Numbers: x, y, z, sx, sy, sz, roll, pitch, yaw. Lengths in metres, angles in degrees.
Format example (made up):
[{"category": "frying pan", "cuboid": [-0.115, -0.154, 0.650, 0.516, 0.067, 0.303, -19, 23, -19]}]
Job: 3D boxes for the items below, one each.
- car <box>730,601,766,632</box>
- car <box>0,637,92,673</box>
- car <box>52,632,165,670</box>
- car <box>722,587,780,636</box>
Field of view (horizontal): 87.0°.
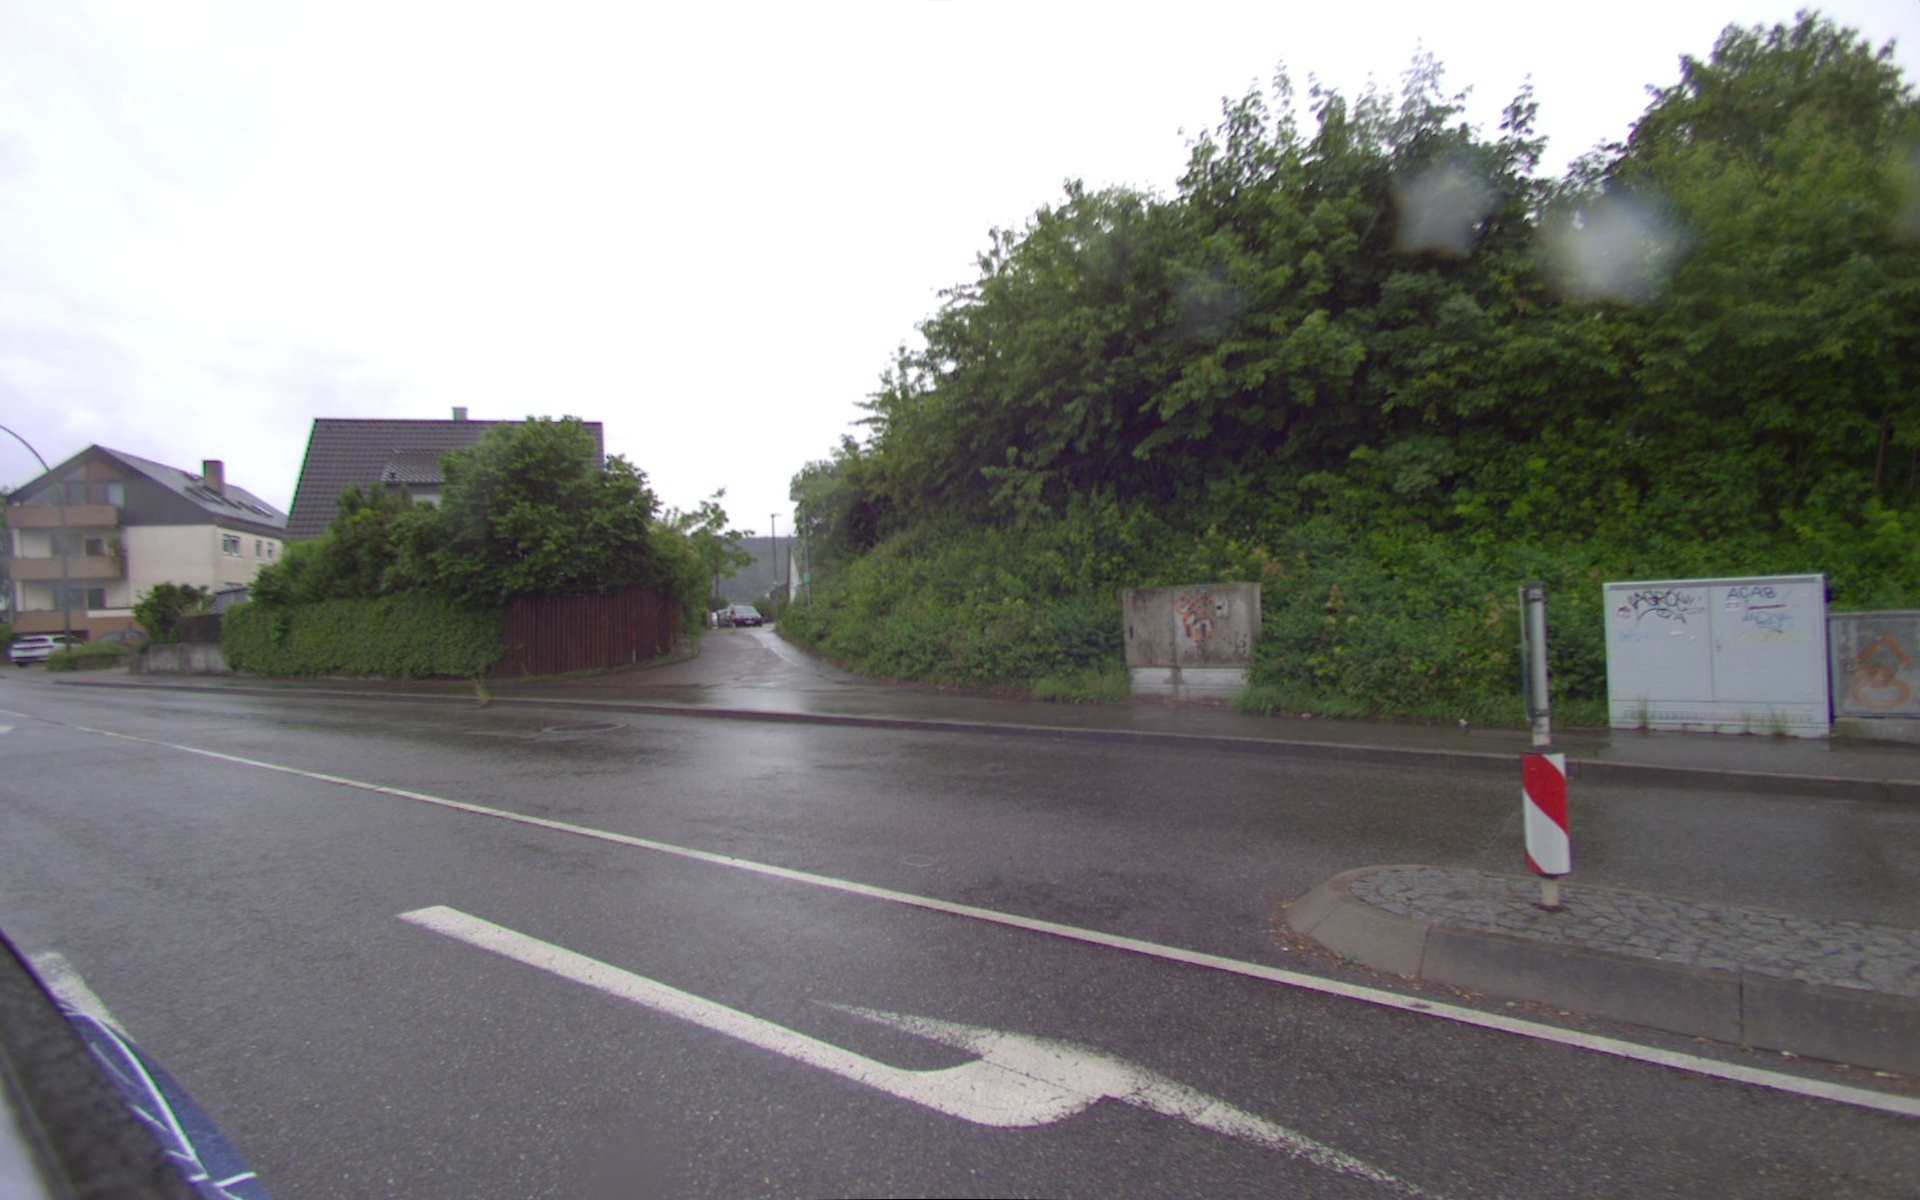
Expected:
[{"category": "car", "cuboid": [-13.545, 1.049, 64.804, 1.968, 1.873, 4.007, -2, 0, -8]}, {"category": "car", "cuboid": [-44.818, 2.658, 49.744, 1.837, 1.530, 4.012, -2, 0, -17]}, {"category": "car", "cuboid": [-39.663, 2.367, 47.211, 3.609, 1.530, 1.759, -2, 0, -15]}, {"category": "car", "cuboid": [-7.308, 0.402, 35.647, 1.683, 1.600, 3.668, -2, 0, -8]}]
